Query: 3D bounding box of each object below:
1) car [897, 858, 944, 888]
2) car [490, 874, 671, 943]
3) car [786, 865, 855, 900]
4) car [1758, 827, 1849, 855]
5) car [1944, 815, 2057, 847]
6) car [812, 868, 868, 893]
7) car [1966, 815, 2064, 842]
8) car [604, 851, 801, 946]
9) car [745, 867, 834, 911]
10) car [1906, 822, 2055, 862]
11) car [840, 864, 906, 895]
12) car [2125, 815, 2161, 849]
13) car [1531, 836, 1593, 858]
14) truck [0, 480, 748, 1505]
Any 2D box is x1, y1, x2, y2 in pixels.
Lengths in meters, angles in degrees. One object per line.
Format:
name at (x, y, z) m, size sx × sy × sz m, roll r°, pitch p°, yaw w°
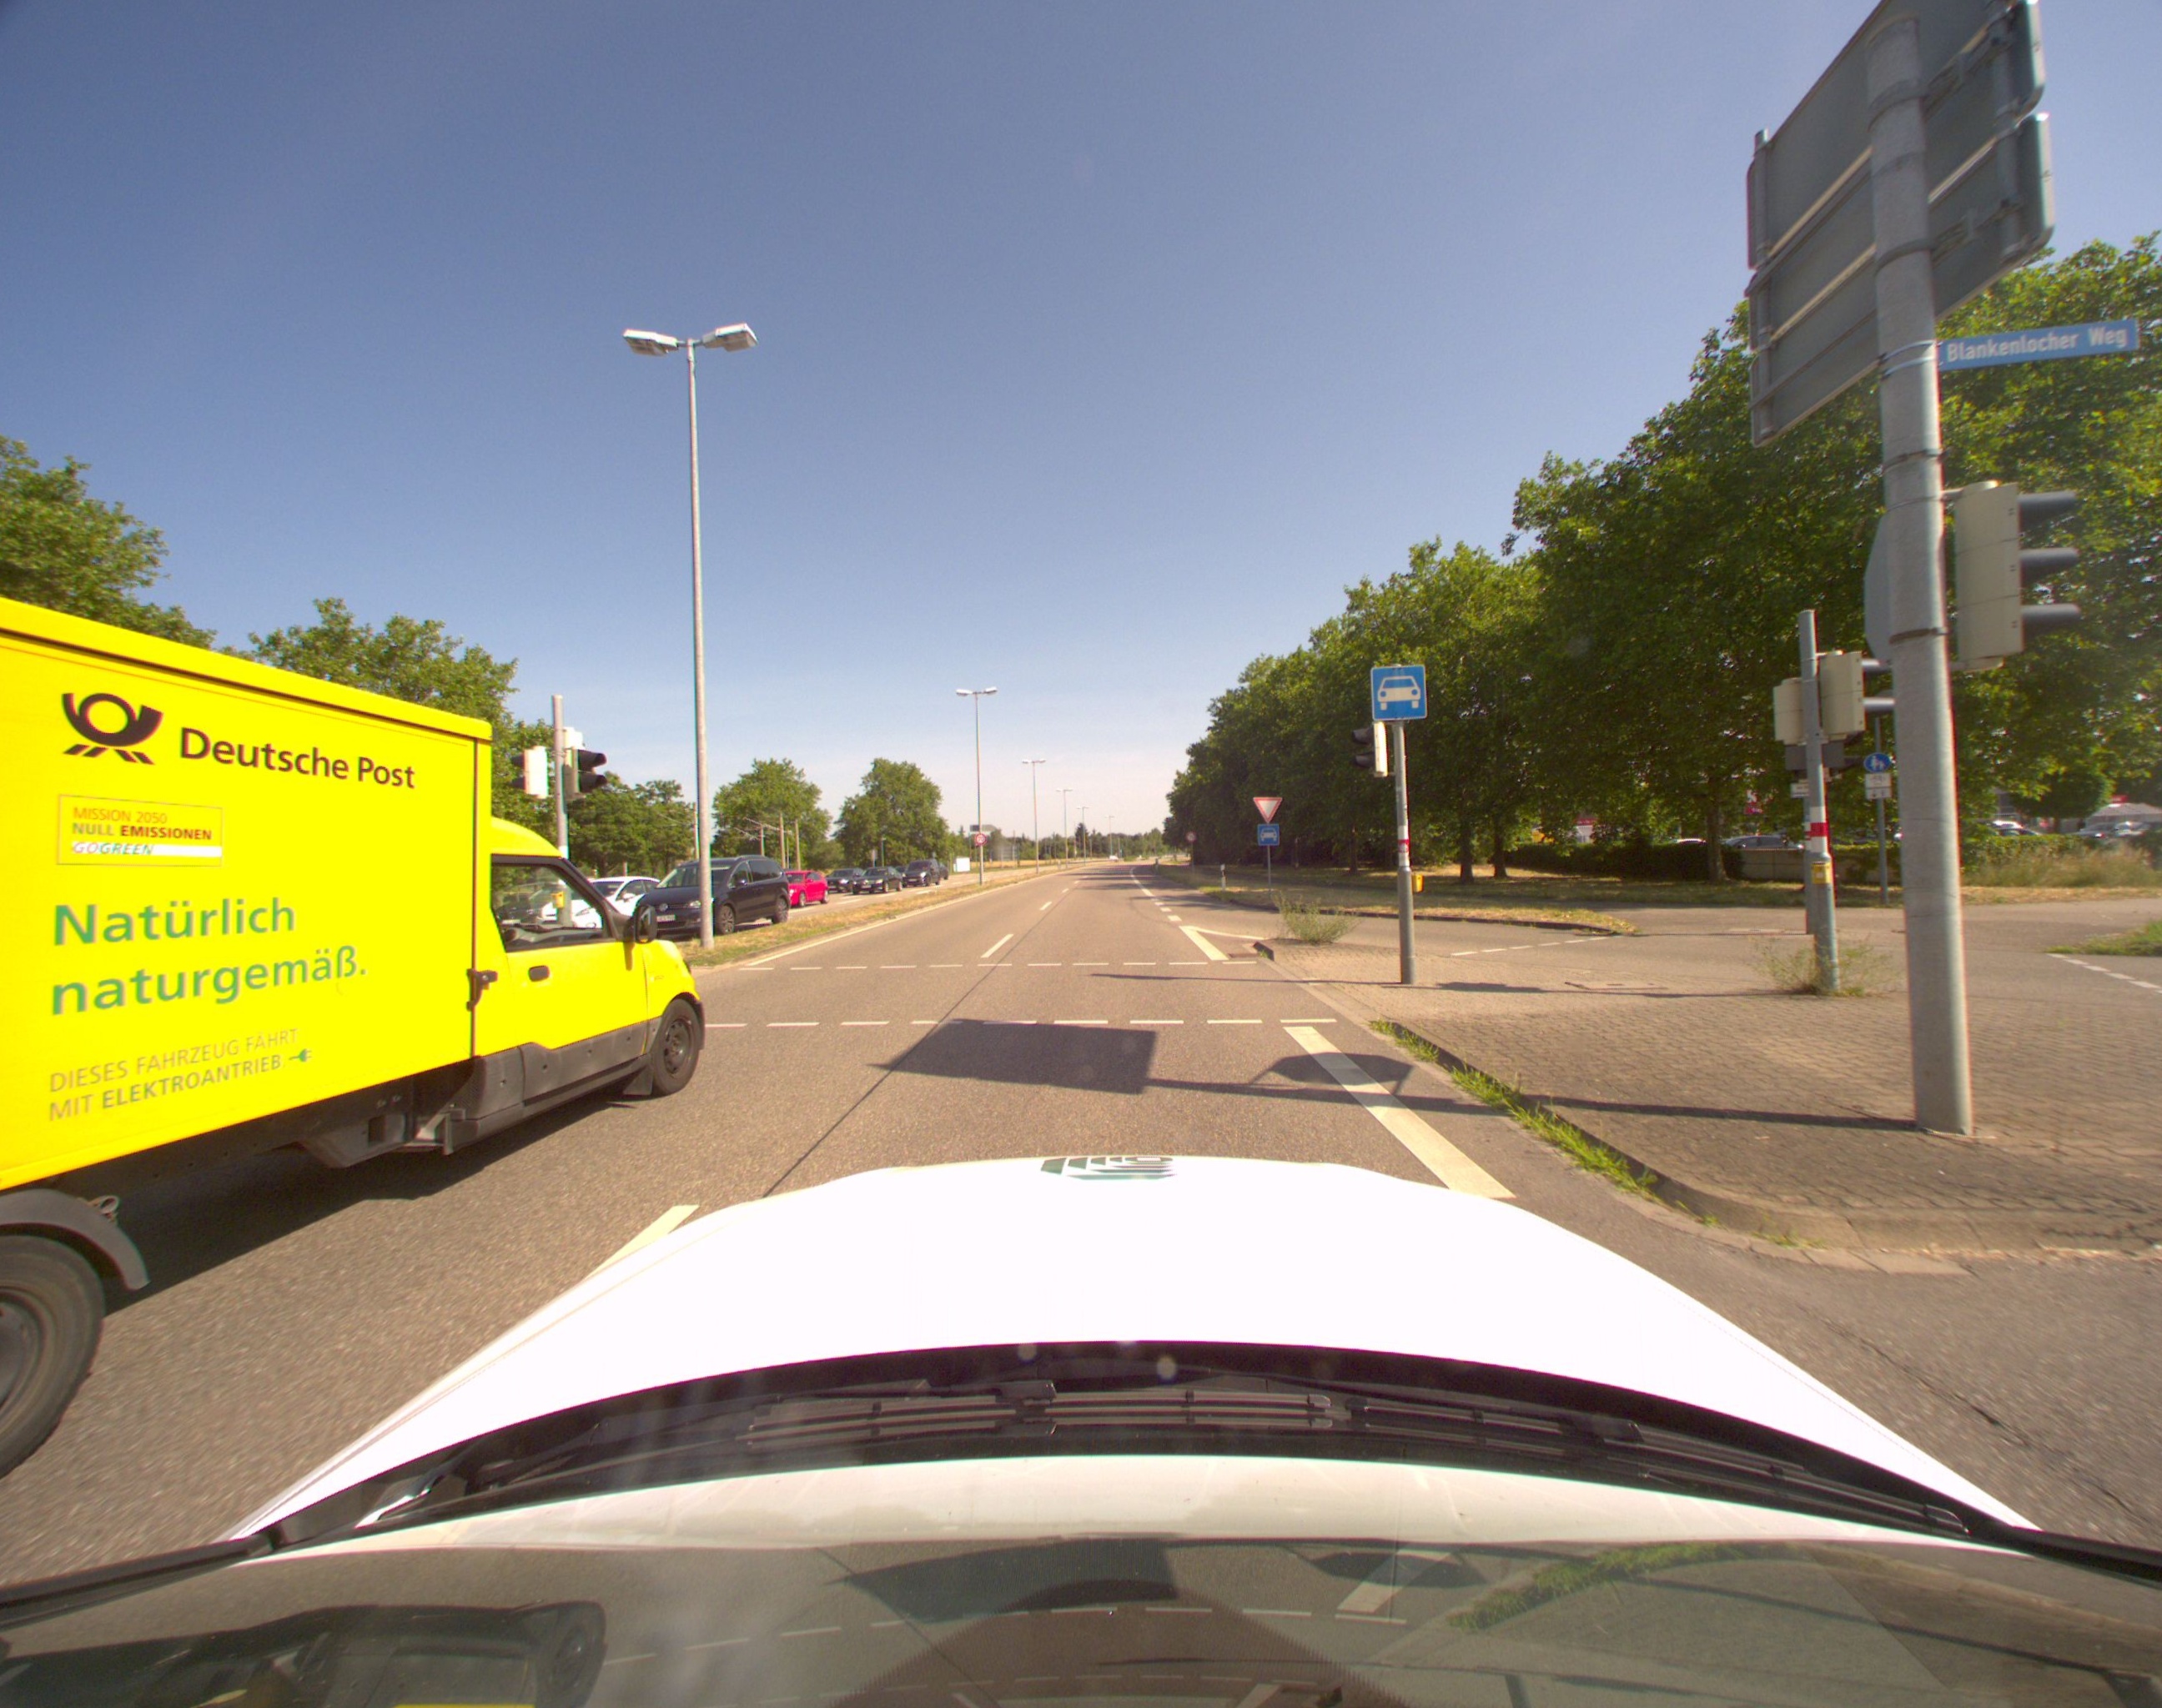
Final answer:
car at (-10.493, 1.213, 53.557) m, size 1.973 × 1.779 × 4.493 m, roll -2°, pitch 0°, yaw 3°
car at (-12.056, 1.264, 19.944) m, size 1.820 × 1.386 × 3.847 m, roll -2°, pitch 0°, yaw 4°
car at (-13.814, 1.462, 43.533) m, size 2.064 × 1.622 × 4.490 m, roll -4°, pitch 0°, yaw 1°
car at (50.722, -0.918, 57.250) m, size 4.469 × 1.750 × 1.991 m, roll -2°, pitch -1°, yaw 6°
car at (57.642, -1.432, 51.133) m, size 4.469 × 1.750 × 1.991 m, roll -2°, pitch -1°, yaw 6°
car at (-14.436, 1.582, 49.027) m, size 1.986 × 1.332 × 4.002 m, roll -2°, pitch 0°, yaw 2°
car at (69.550, -1.893, 60.737) m, size 4.462 × 1.750 × 1.995 m, roll -2°, pitch -1°, yaw 13°
car at (-8.253, 0.883, 18.330) m, size 1.972 × 1.750 × 4.513 m, roll -4°, pitch 0°, yaw 4°
car at (-11.160, 1.295, 31.507) m, size 1.808 × 1.485 × 4.003 m, roll -2°, pitch 0°, yaw 3°
car at (43.841, -0.550, 39.832) m, size 1.991 × 1.750 × 4.471 m, roll -2°, pitch -1°, yaw -24°
car at (-10.947, 1.293, 43.185) m, size 1.972 × 1.457 × 4.455 m, roll -2°, pitch 0°, yaw 4°
car at (58.252, -1.229, 42.700) m, size 3.963 × 1.728 × 2.005 m, roll -2°, pitch 0°, yaw 9°
car at (39.308, -0.559, 66.665) m, size 3.958 × 1.684 × 2.007 m, roll -1°, pitch -1°, yaw 14°
truck at (-3.641, 0.355, 3.273) m, size 2.105 × 2.457 × 5.916 m, roll -1°, pitch -1°, yaw 0°
